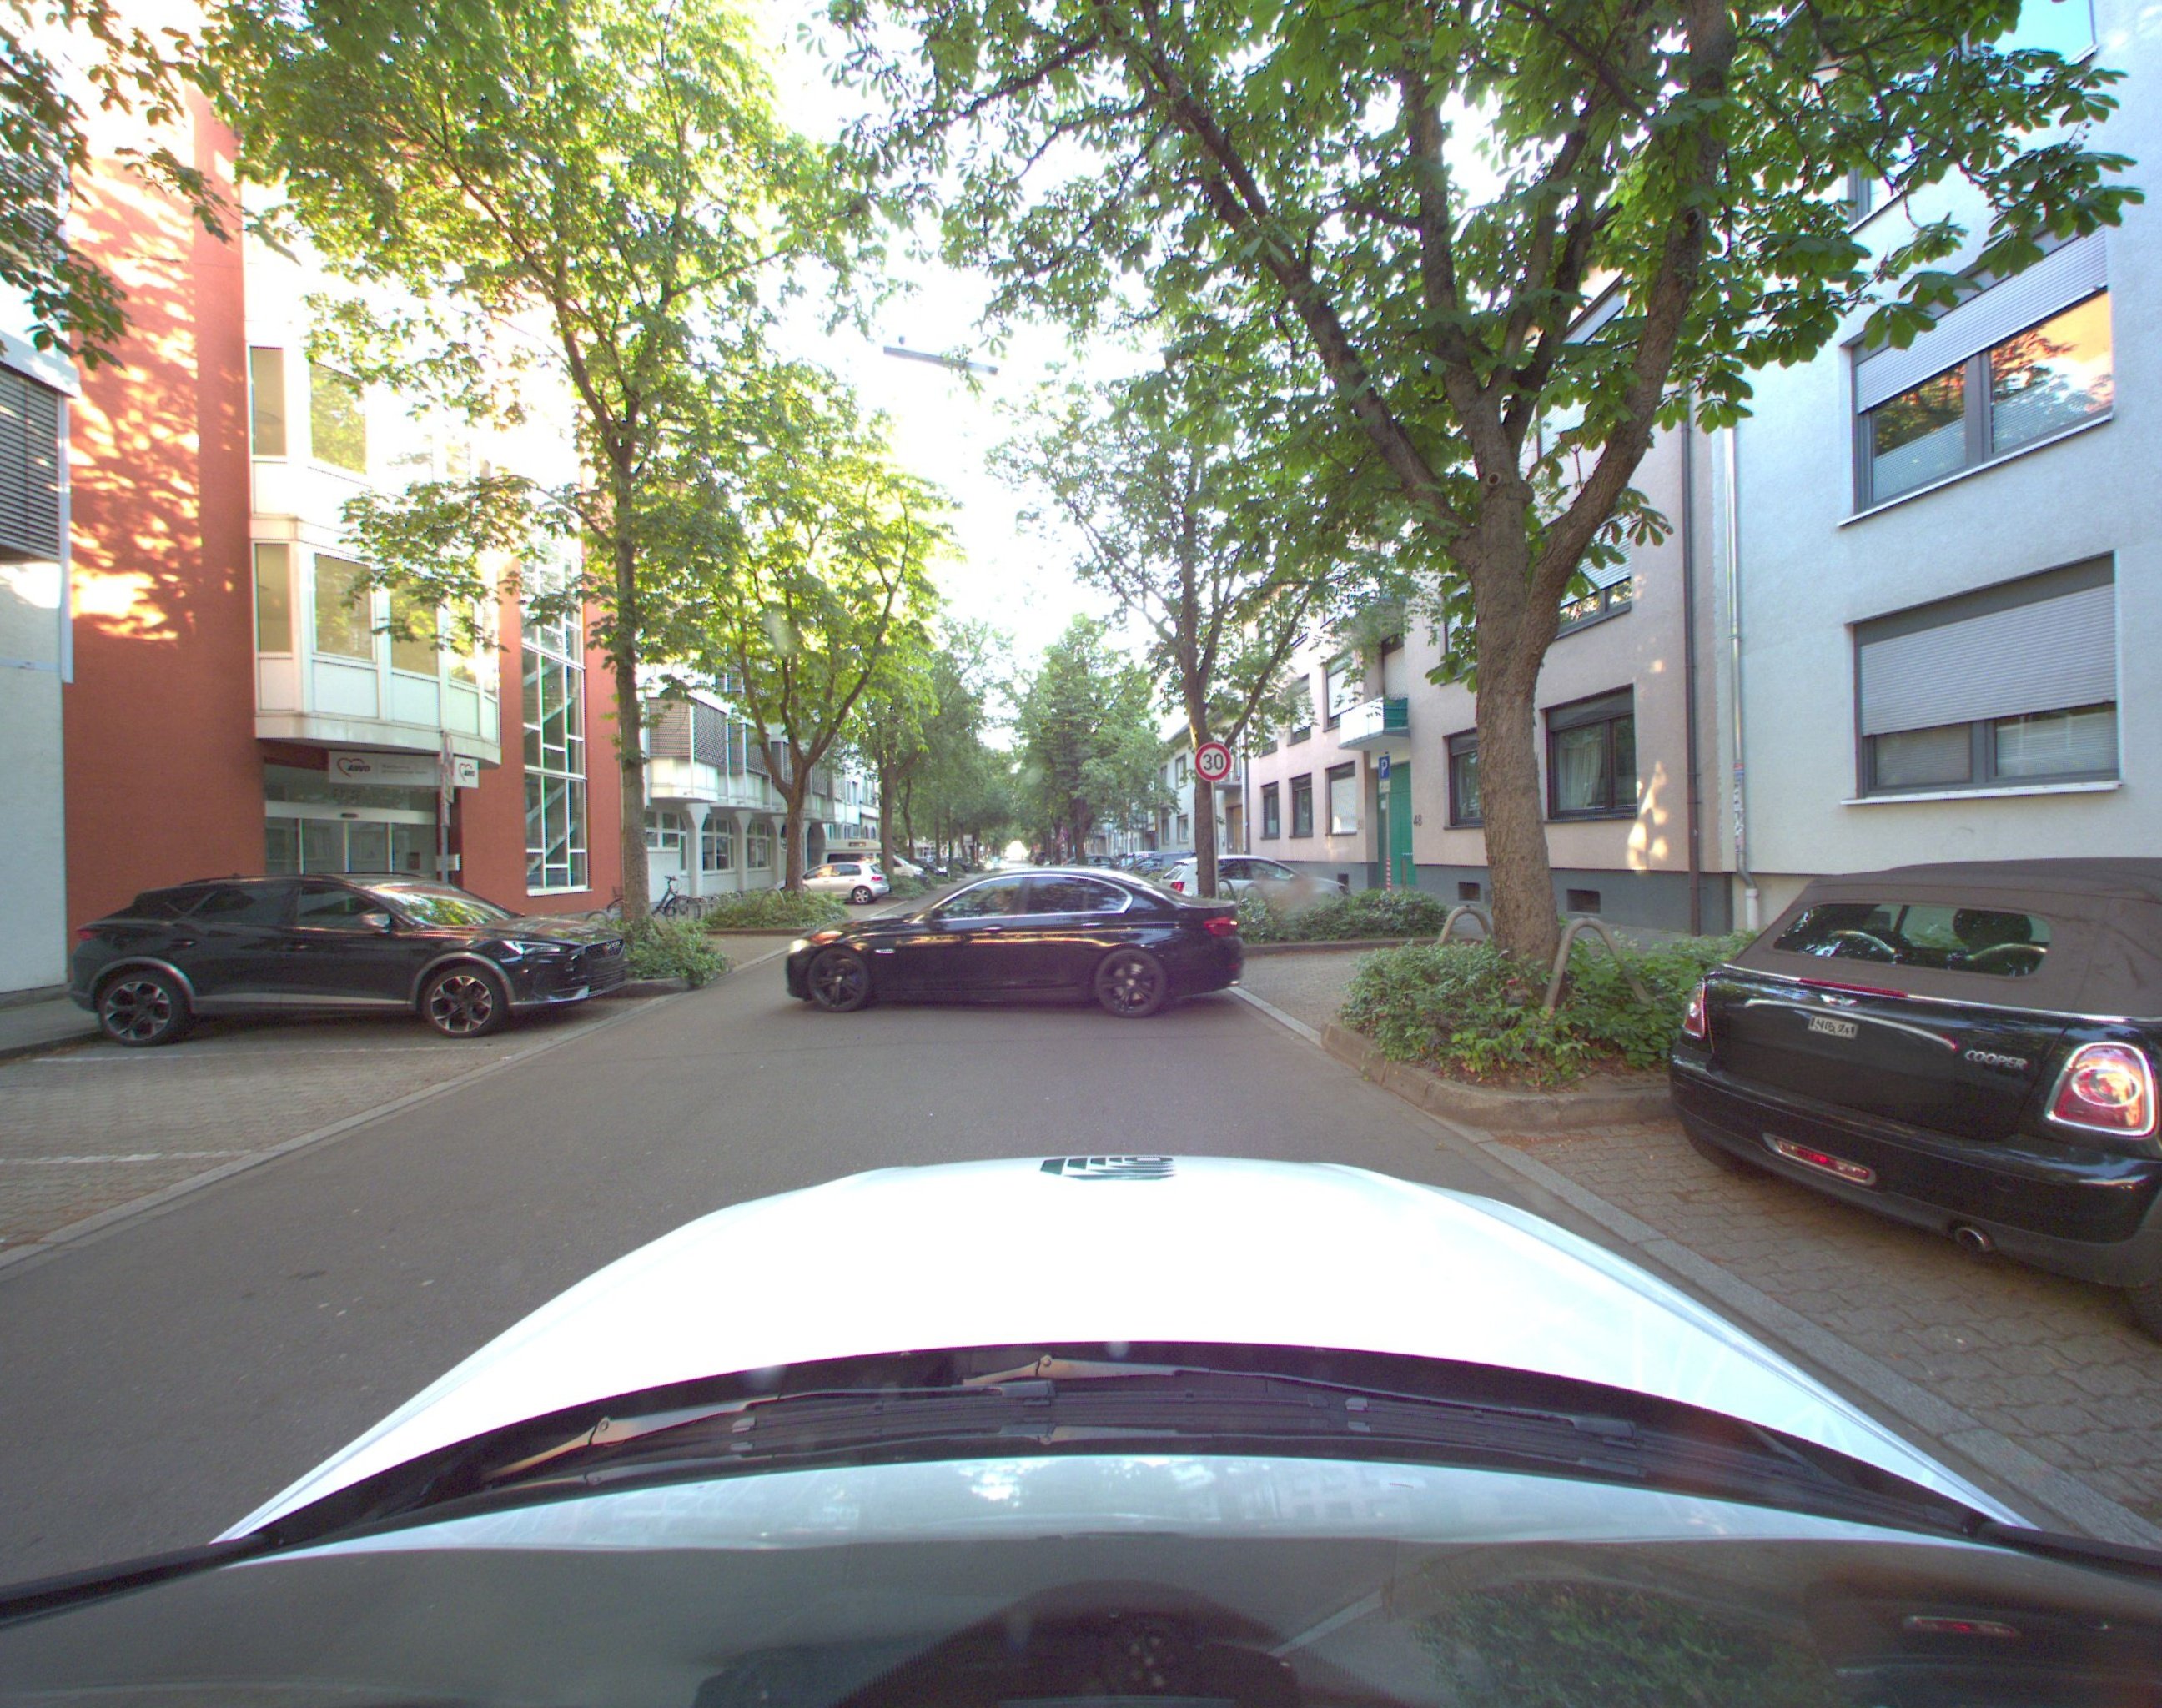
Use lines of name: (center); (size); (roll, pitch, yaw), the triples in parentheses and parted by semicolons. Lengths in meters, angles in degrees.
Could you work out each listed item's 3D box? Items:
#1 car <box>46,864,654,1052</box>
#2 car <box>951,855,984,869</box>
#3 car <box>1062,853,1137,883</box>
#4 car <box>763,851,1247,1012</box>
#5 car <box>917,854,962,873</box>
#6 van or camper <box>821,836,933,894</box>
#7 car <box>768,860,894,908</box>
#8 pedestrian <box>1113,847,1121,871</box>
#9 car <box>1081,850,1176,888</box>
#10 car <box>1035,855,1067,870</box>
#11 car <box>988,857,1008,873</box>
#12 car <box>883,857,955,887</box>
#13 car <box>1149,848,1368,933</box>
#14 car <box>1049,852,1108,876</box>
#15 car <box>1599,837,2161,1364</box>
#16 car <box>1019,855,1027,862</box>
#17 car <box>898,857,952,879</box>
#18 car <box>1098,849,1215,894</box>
car: (-7.024, 0.930, 8.273); (4.347, 1.517, 1.782); (-2, 0, -5)
car: (-14.284, 1.019, 102.908); (3.959, 1.619, 1.783); (-2, 0, -4)
car: (1.017, 0.744, 45.084); (3.962, 1.527, 1.782); (-2, 0, -5)
car: (-0.689, 0.770, 8.704); (4.718, 1.480, 1.804); (-1, 0, 8)
car: (-13.263, 0.867, 76.628); (3.959, 1.619, 1.783); (-2, 0, -4)
van or camper: (-9.293, 0.485, 37.418); (4.656, 2.478, 1.997); (-1, 0, -5)
car: (-8.848, 1.048, 29.085); (3.960, 1.517, 1.783); (-2, 0, -4)
pedestrian: (3.054, 0.427, 68.403); (0.587, 2.013, 0.669); (-1, 0, -3)
car: (2.076, 0.668, 36.242); (3.962, 1.527, 1.782); (-2, 0, -5)
car: (-3.725, 1.060, 101.054); (3.959, 1.684, 1.783); (-2, 0, -4)
car: (-8.096, 1.059, 79.925); (1.775, 1.562, 4.162); (-1, 0, -4)
car: (-9.594, 1.045, 48.421); (3.960, 1.619, 1.783); (-2, 0, -4)
car: (3.431, 0.675, 16.118); (3.904, 1.476, 1.661); (-2, 0, -7)
car: (-0.174, 0.661, 56.988); (3.963, 1.527, 1.781); (-2, 0, -6)
car: (4.346, 0.633, 3.269); (3.608, 1.363, 1.660); (-2, 0, -8)
car: (-14.352, 1.145, 201.401); (1.819, 1.530, 3.995); (-2, 0, -4)
car: (-12.397, 1.071, 64.968); (3.959, 1.619, 1.783); (-2, 0, -4)
car: (2.722, 0.631, 29.751); (3.963, 1.476, 1.781); (-2, 0, -7)
